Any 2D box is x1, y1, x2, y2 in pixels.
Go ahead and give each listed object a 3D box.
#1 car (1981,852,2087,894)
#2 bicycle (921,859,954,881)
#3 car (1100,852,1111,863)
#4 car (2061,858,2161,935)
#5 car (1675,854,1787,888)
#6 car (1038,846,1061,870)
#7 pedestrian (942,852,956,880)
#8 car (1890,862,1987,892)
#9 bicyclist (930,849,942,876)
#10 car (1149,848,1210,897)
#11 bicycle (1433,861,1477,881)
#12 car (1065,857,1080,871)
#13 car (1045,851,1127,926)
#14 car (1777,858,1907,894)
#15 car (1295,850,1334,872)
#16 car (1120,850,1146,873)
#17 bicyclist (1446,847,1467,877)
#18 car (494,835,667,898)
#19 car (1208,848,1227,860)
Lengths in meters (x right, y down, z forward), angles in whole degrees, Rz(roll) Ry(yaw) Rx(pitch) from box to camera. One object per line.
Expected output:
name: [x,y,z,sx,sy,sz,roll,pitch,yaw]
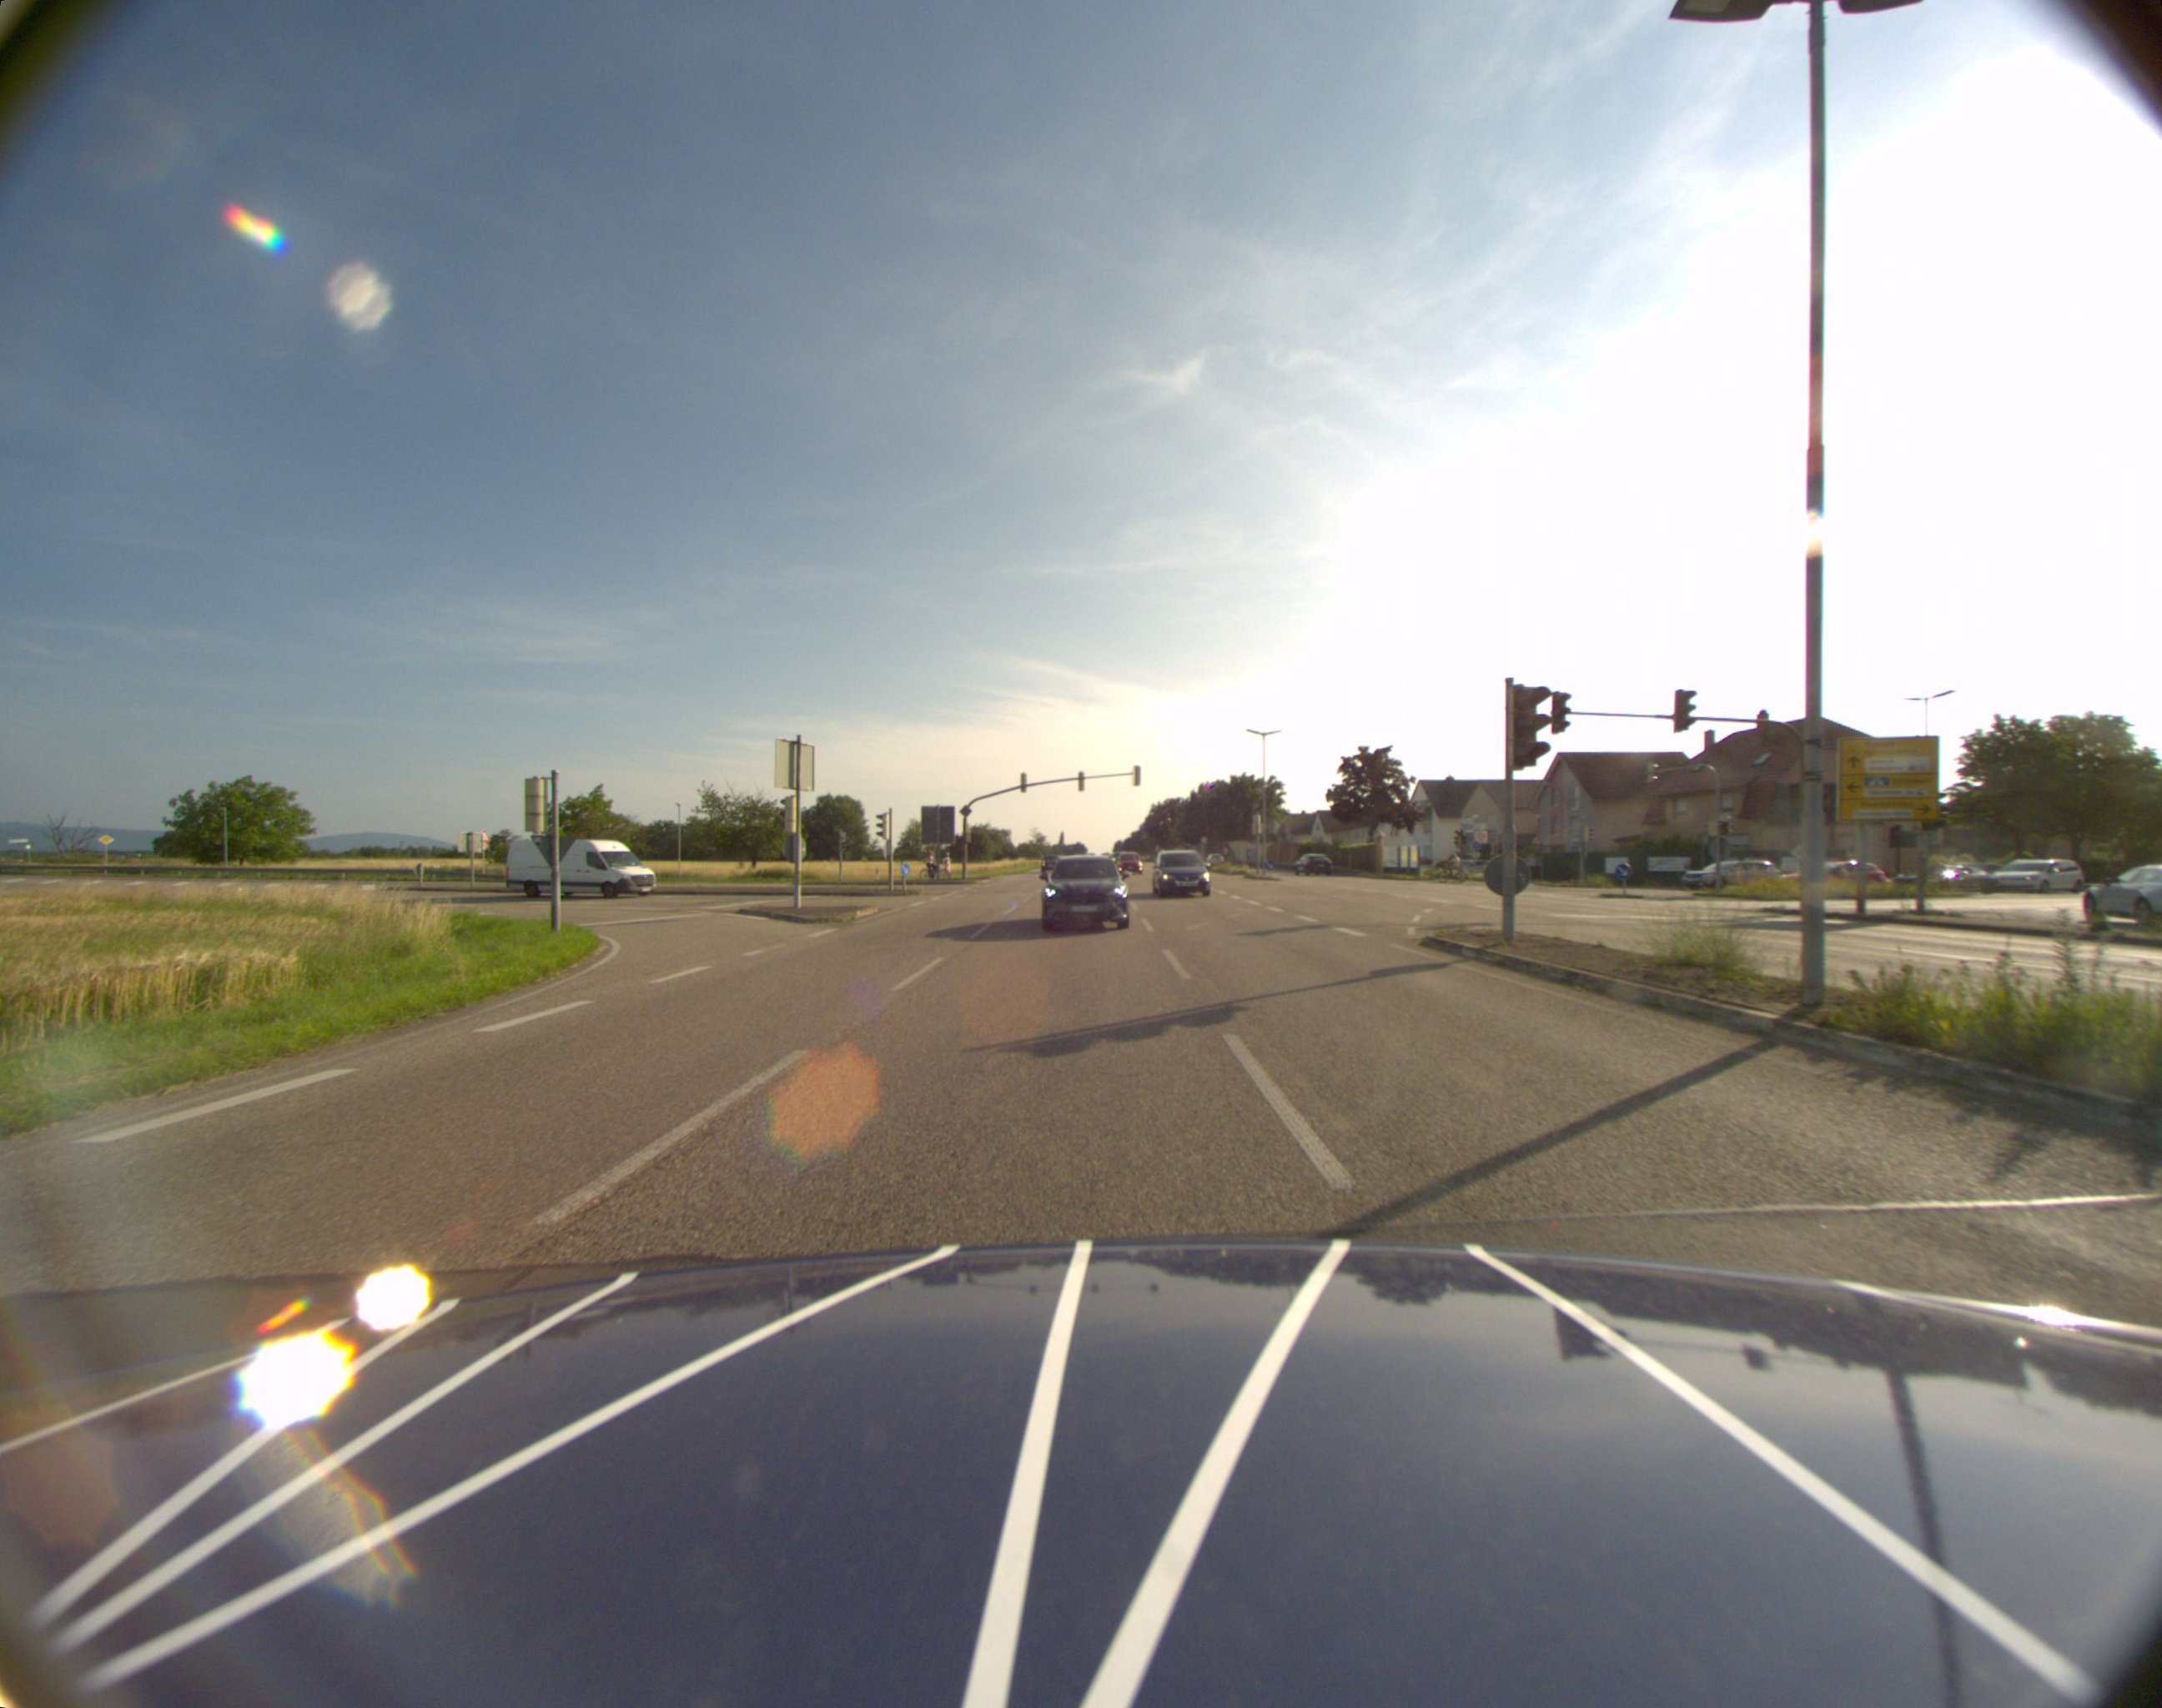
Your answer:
car: [46.449,0.861,37.062,4.185,1.805,1.996,-2,1,-20]
bicycle: [-8.620,0.949,45.658,1.857,1.282,0.529,-2,1,4]
car: [5.075,0.737,160.612,1.999,2.002,3.998,-2,1,-2]
car: [25.996,0.945,18.181,1.950,1.489,4.770,-1,1,37]
car: [32.600,0.842,38.181,3.996,1.554,1.758,1,1,2]
car: [-2.836,0.353,69.479,1.999,2.002,3.998,-2,1,-2]
pedestrian: [-8.250,0.728,47.654,0.623,1.741,0.598,-2,1,11]
car: [39.761,1.038,35.236,3.617,1.170,1.754,-2,1,-20]
bicyclist: [-8.707,0.496,45.637,0.560,1.603,0.504,-2,1,7]
car: [3.593,0.619,28.373,1.777,1.612,4.681,-1,1,2]
bicycle: [22.499,1.011,45.755,2.159,1.185,0.904,0,2,9]
car: [-1.059,1.153,90.553,1.686,1.565,3.816,-2,1,-2]
car: [0.165,0.775,19.364,1.791,1.594,4.339,-2,1,1]
car: [33.574,0.947,33.576,4.304,1.405,1.641,2,1,-6]
car: [17.097,0.488,55.815,1.736,1.533,4.247,1,1,4]
car: [3.853,0.505,56.684,1.748,1.537,3.999,-2,1,1]
bicyclist: [22.604,0.459,45.729,0.856,1.777,0.847,2,2,9]
car: [-22.396,0.517,34.018,7.202,2.654,2.094,0,2,15]
car: [18.179,-0.028,101.106,1.758,1.454,4.734,1,1,2]
